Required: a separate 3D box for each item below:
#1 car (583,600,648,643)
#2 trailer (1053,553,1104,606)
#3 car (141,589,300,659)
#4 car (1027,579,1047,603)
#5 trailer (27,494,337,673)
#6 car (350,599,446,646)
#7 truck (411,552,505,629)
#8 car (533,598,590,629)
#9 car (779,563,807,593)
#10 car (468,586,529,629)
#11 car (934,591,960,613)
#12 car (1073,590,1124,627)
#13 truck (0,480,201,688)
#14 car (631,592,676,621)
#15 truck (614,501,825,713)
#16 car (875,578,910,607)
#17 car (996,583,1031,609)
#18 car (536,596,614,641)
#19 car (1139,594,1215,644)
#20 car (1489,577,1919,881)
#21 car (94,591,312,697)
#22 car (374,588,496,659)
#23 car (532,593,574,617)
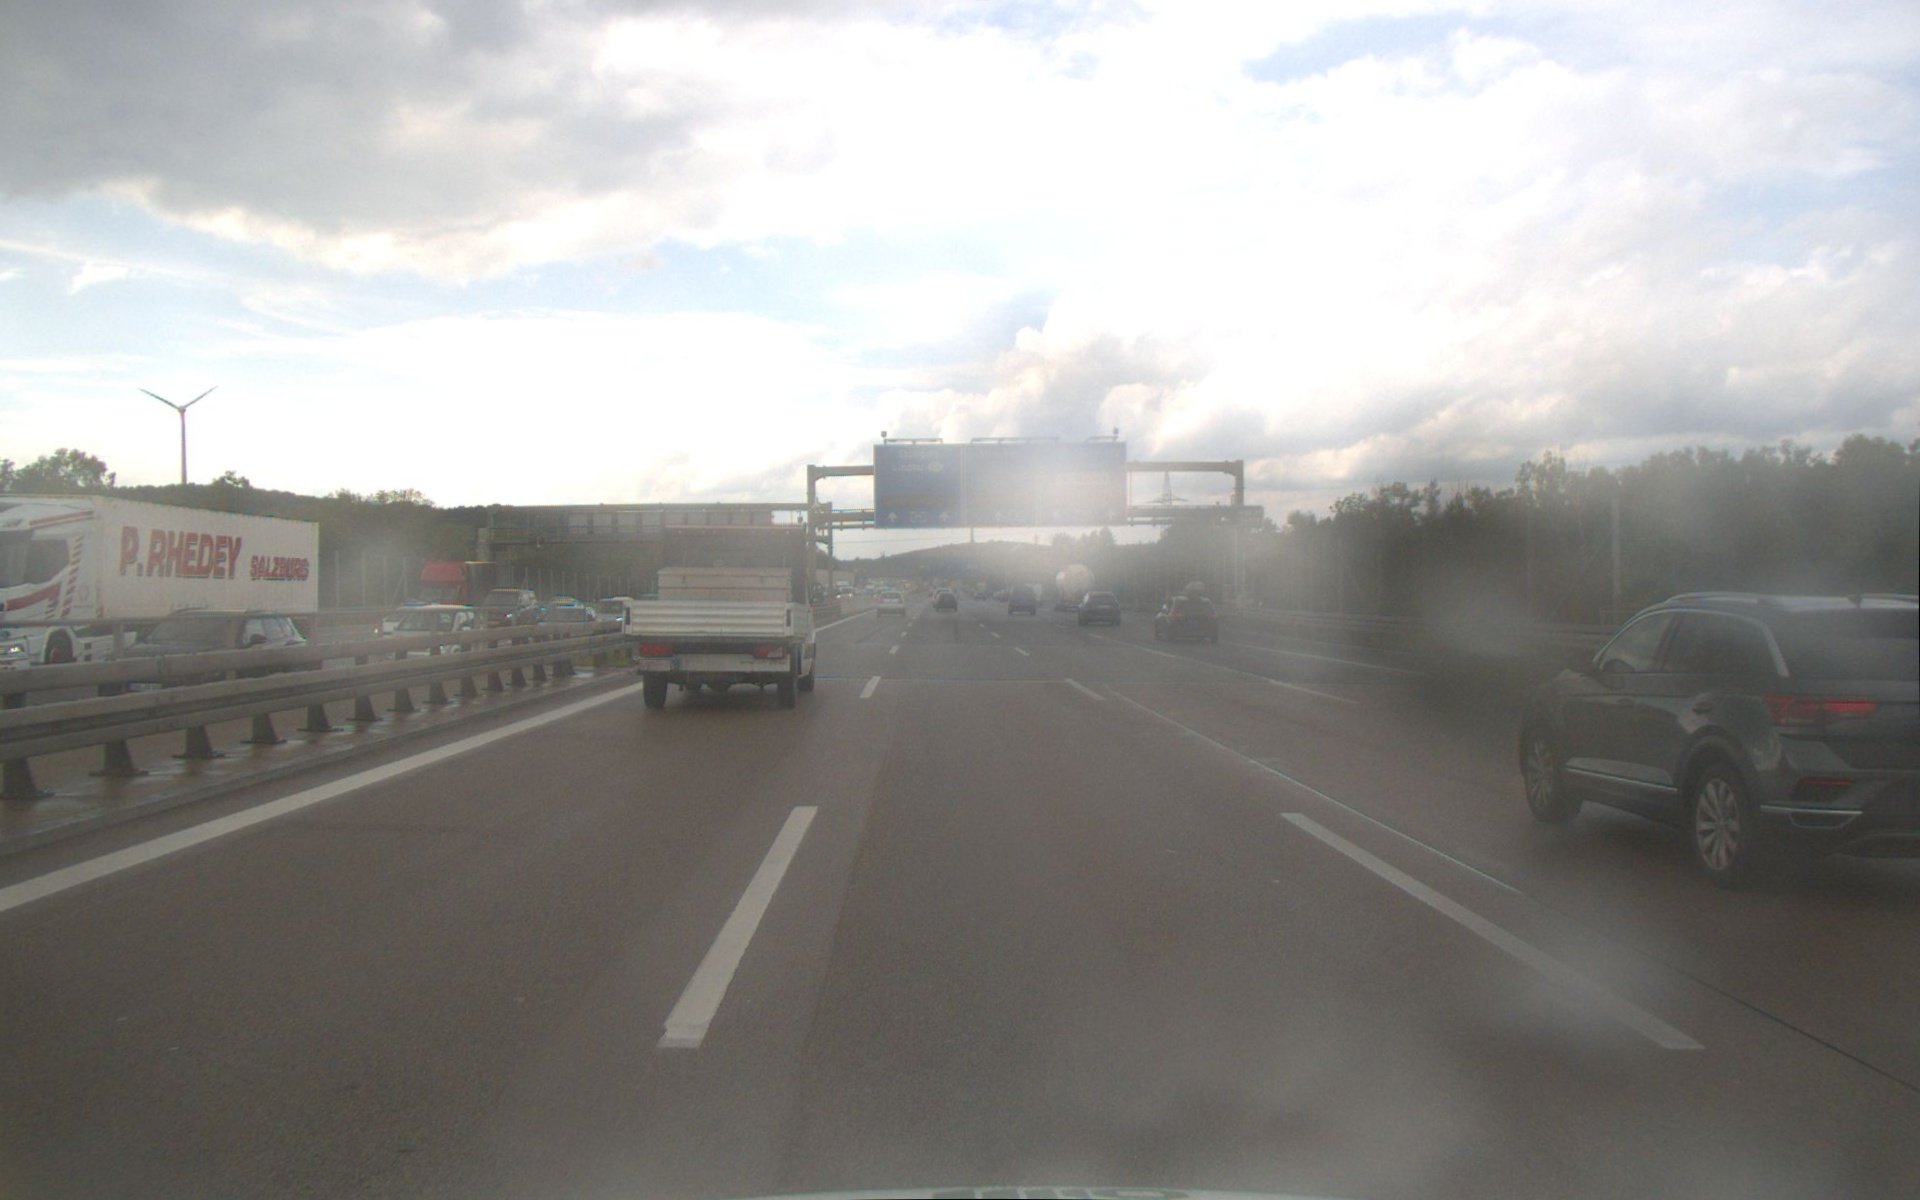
[{"bbox_3d":[-14.403,0.864,69.367,1.835,1.676,4.721,0,1,-2],"label":"car"},{"bbox_3d":[9.964,-1.714,140.461,3.265,4.248,11.837,1,0,-1],"label":"trailer"},{"bbox_3d":[-17.001,0.503,38.261,1.612,1.529,4.676,0,0,-1],"label":"car"},{"bbox_3d":[8.369,-1.034,180.174,2.003,2.541,4.000,0,1,-1],"label":"car"},{"bbox_3d":[-20.815,-0.495,45.459,3.122,4.267,11.953,0,1,-2],"label":"trailer"},{"bbox_3d":[-18.267,0.702,53.924,1.612,1.432,4.543,0,0,-1],"label":"car"},{"bbox_3d":[-24.741,-0.517,81.844,2.414,3.598,7.805,0,1,-1],"label":"truck"},{"bbox_3d":[-18.202,0.589,75.670,1.668,1.311,4.186,0,1,-2],"label":"car"},{"bbox_3d":[-19.244,-2.544,190.916,2.447,3.357,7.626,1,1,-1],"label":"car"},{"bbox_3d":[-21.492,0.314,77.181,1.551,1.923,4.819,0,1,-1],"label":"car"},{"bbox_3d":[-1.046,0.138,132.159,2.003,1.729,4.000,0,1,0],"label":"car"},{"bbox_3d":[6.811,0.411,81.846,2.003,1.729,5.006,0,1,-1],"label":"car"},{"bbox_3d":[-20.573,-0.379,37.700,3.113,4.267,7.736,0,1,-2],"label":"truck"},{"bbox_3d":[-18.094,0.371,97.890,1.844,1.626,5.134,0,1,-2],"label":"car"},{"bbox_3d":[-3.126,0.044,23.129,2.306,2.450,7.352,1,1,-4],"label":"truck"},{"bbox_3d":[-4.059,-0.471,99.557,2.003,1.729,4.000,0,1,-1],"label":"car"},{"bbox_3d":[3.694,-0.307,115.644,2.056,1.729,3.997,0,1,-4],"label":"car"},{"bbox_3d":[-13.061,0.606,56.371,1.612,1.465,4.729,0,0,-1],"label":"car"},{"bbox_3d":[7.496,0.649,57.611,2.061,1.634,5.066,0,0,1],"label":"car"},{"bbox_3d":[4.869,0.676,10.574,1.756,1.589,3.721,1,0,0],"label":"car"},{"bbox_3d":[-12.695,0.677,28.037,1.756,1.647,4.283,0,0,-1],"label":"car"},{"bbox_3d":[-12.810,0.534,40.596,1.756,1.647,3.999,0,0,-1],"label":"car"},{"bbox_3d":[-26.284,0.303,107.008,1.726,1.451,4.341,0,1,-2],"label":"car"}]
